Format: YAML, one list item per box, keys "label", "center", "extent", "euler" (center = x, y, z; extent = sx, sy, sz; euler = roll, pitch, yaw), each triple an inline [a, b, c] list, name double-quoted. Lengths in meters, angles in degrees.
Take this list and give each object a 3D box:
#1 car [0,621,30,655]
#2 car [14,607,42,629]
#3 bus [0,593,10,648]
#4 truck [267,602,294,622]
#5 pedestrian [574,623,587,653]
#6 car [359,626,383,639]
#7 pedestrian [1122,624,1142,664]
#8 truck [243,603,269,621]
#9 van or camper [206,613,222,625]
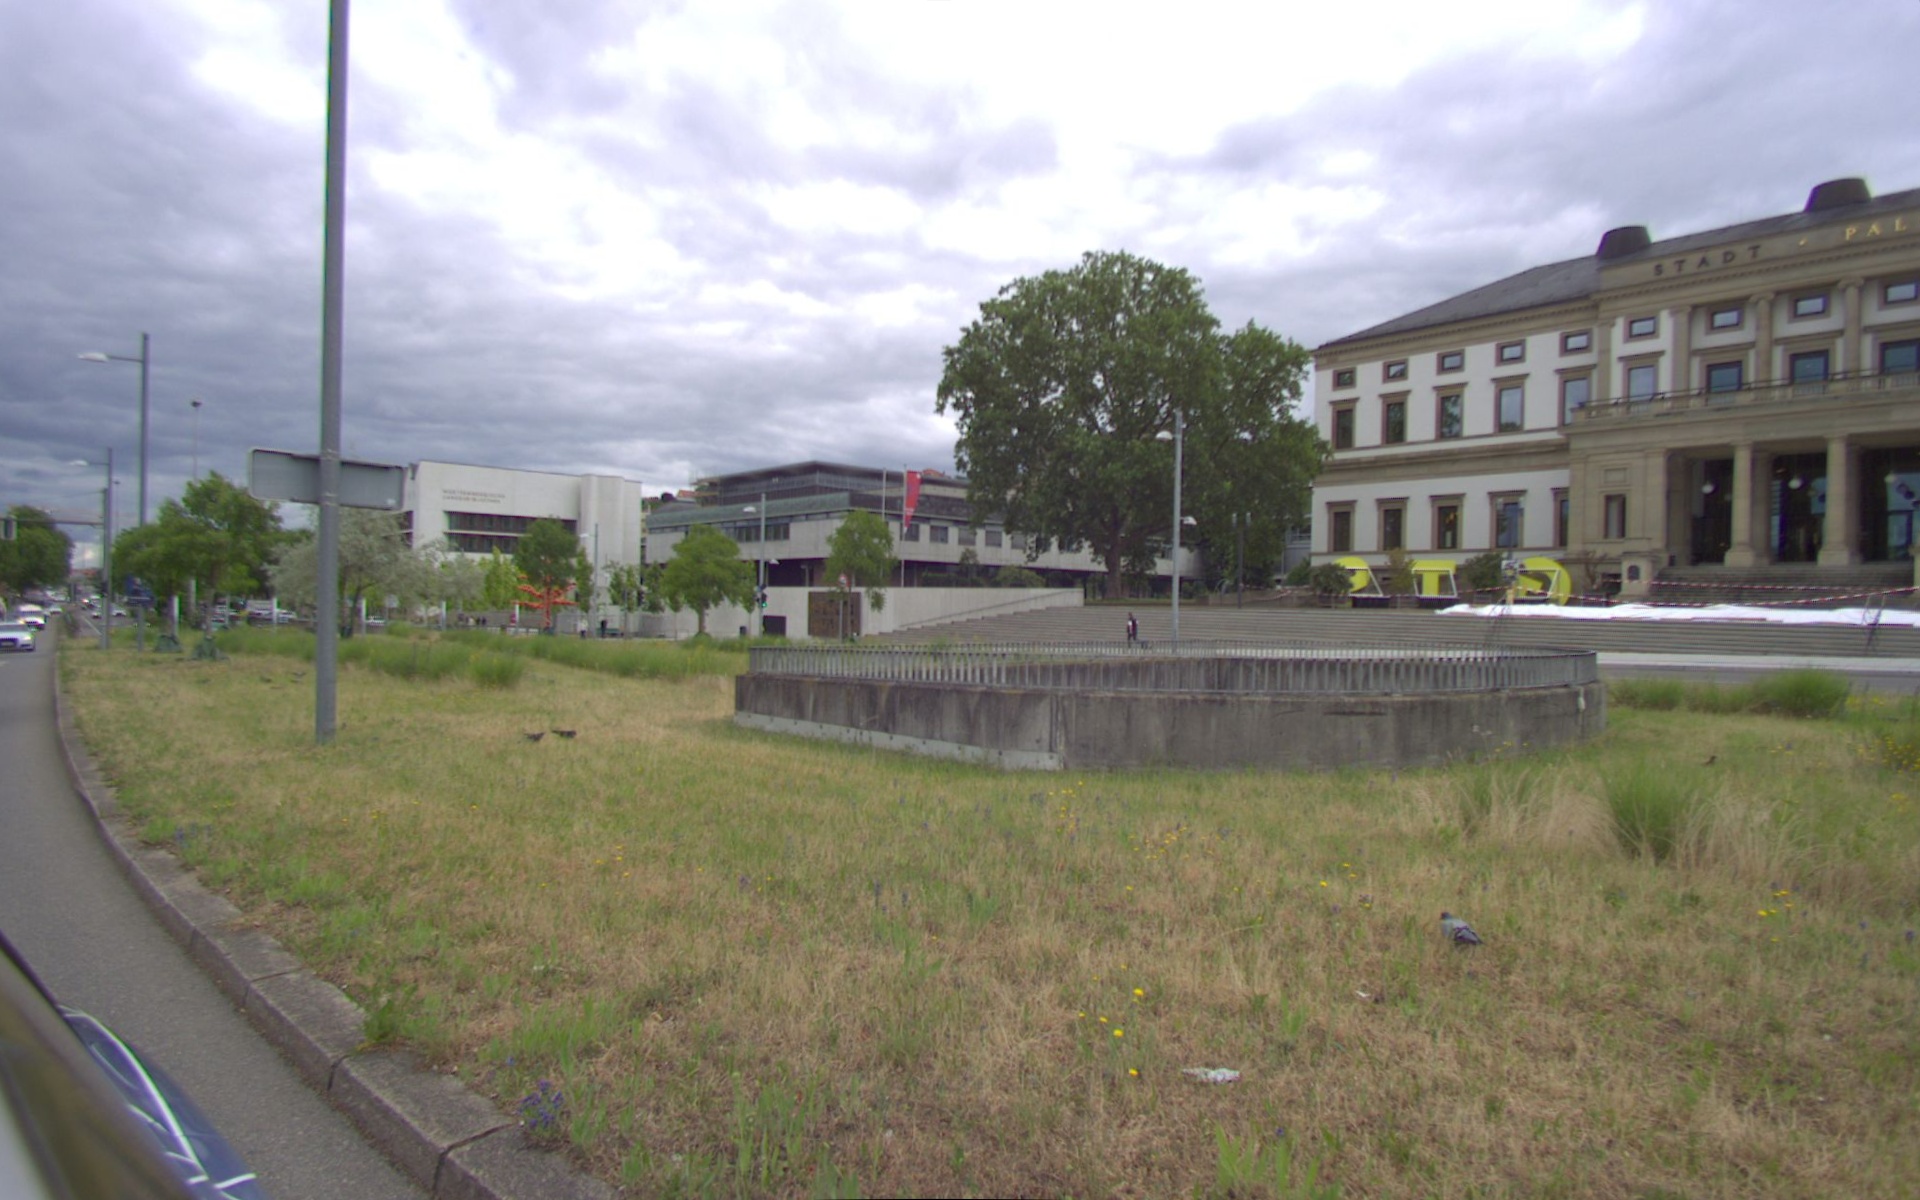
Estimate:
- label: "car"
  center: [-45.520, 1.783, 48.014]
  extent: [4.000, 1.559, 1.738]
  euler: [-1, -1, 43]
- label: "car"
  center: [-97.561, 1.842, 105.993]
  extent: [1.968, 2.245, 4.007]
  euler: [0, -1, -40]
- label: "bus"
  center: [-80.937, 1.674, 84.015]
  extent: [2.999, 4.385, 8.759]
  euler: [0, -1, -43]
- label: "truck"
  center: [-97.611, 1.746, 145.347]
  extent: [2.433, 2.838, 7.089]
  euler: [0, -2, -40]
- label: "pedestrian"
  center: [-22.501, 2.234, 59.985]
  extent: [0.533, 1.747, 0.664]
  euler: [0, -1, -42]
- label: "car"
  center: [-71.292, 3.927, 122.401]
  extent: [1.697, 1.586, 4.619]
  euler: [0, -2, -41]
- label: "pedestrian"
  center: [7.281, 1.840, 42.885]
  extent: [0.518, 1.661, 0.651]
  euler: [-1, 0, -43]
- label: "truck"
  center: [-119.511, 2.024, 171.755]
  extent: [3.190, 2.809, 7.266]
  euler: [0, -2, -39]
- label: "van or camper"
  center: [-136.549, 3.529, 185.289]
  extent: [1.969, 2.029, 4.562]
  euler: [0, -2, -42]
